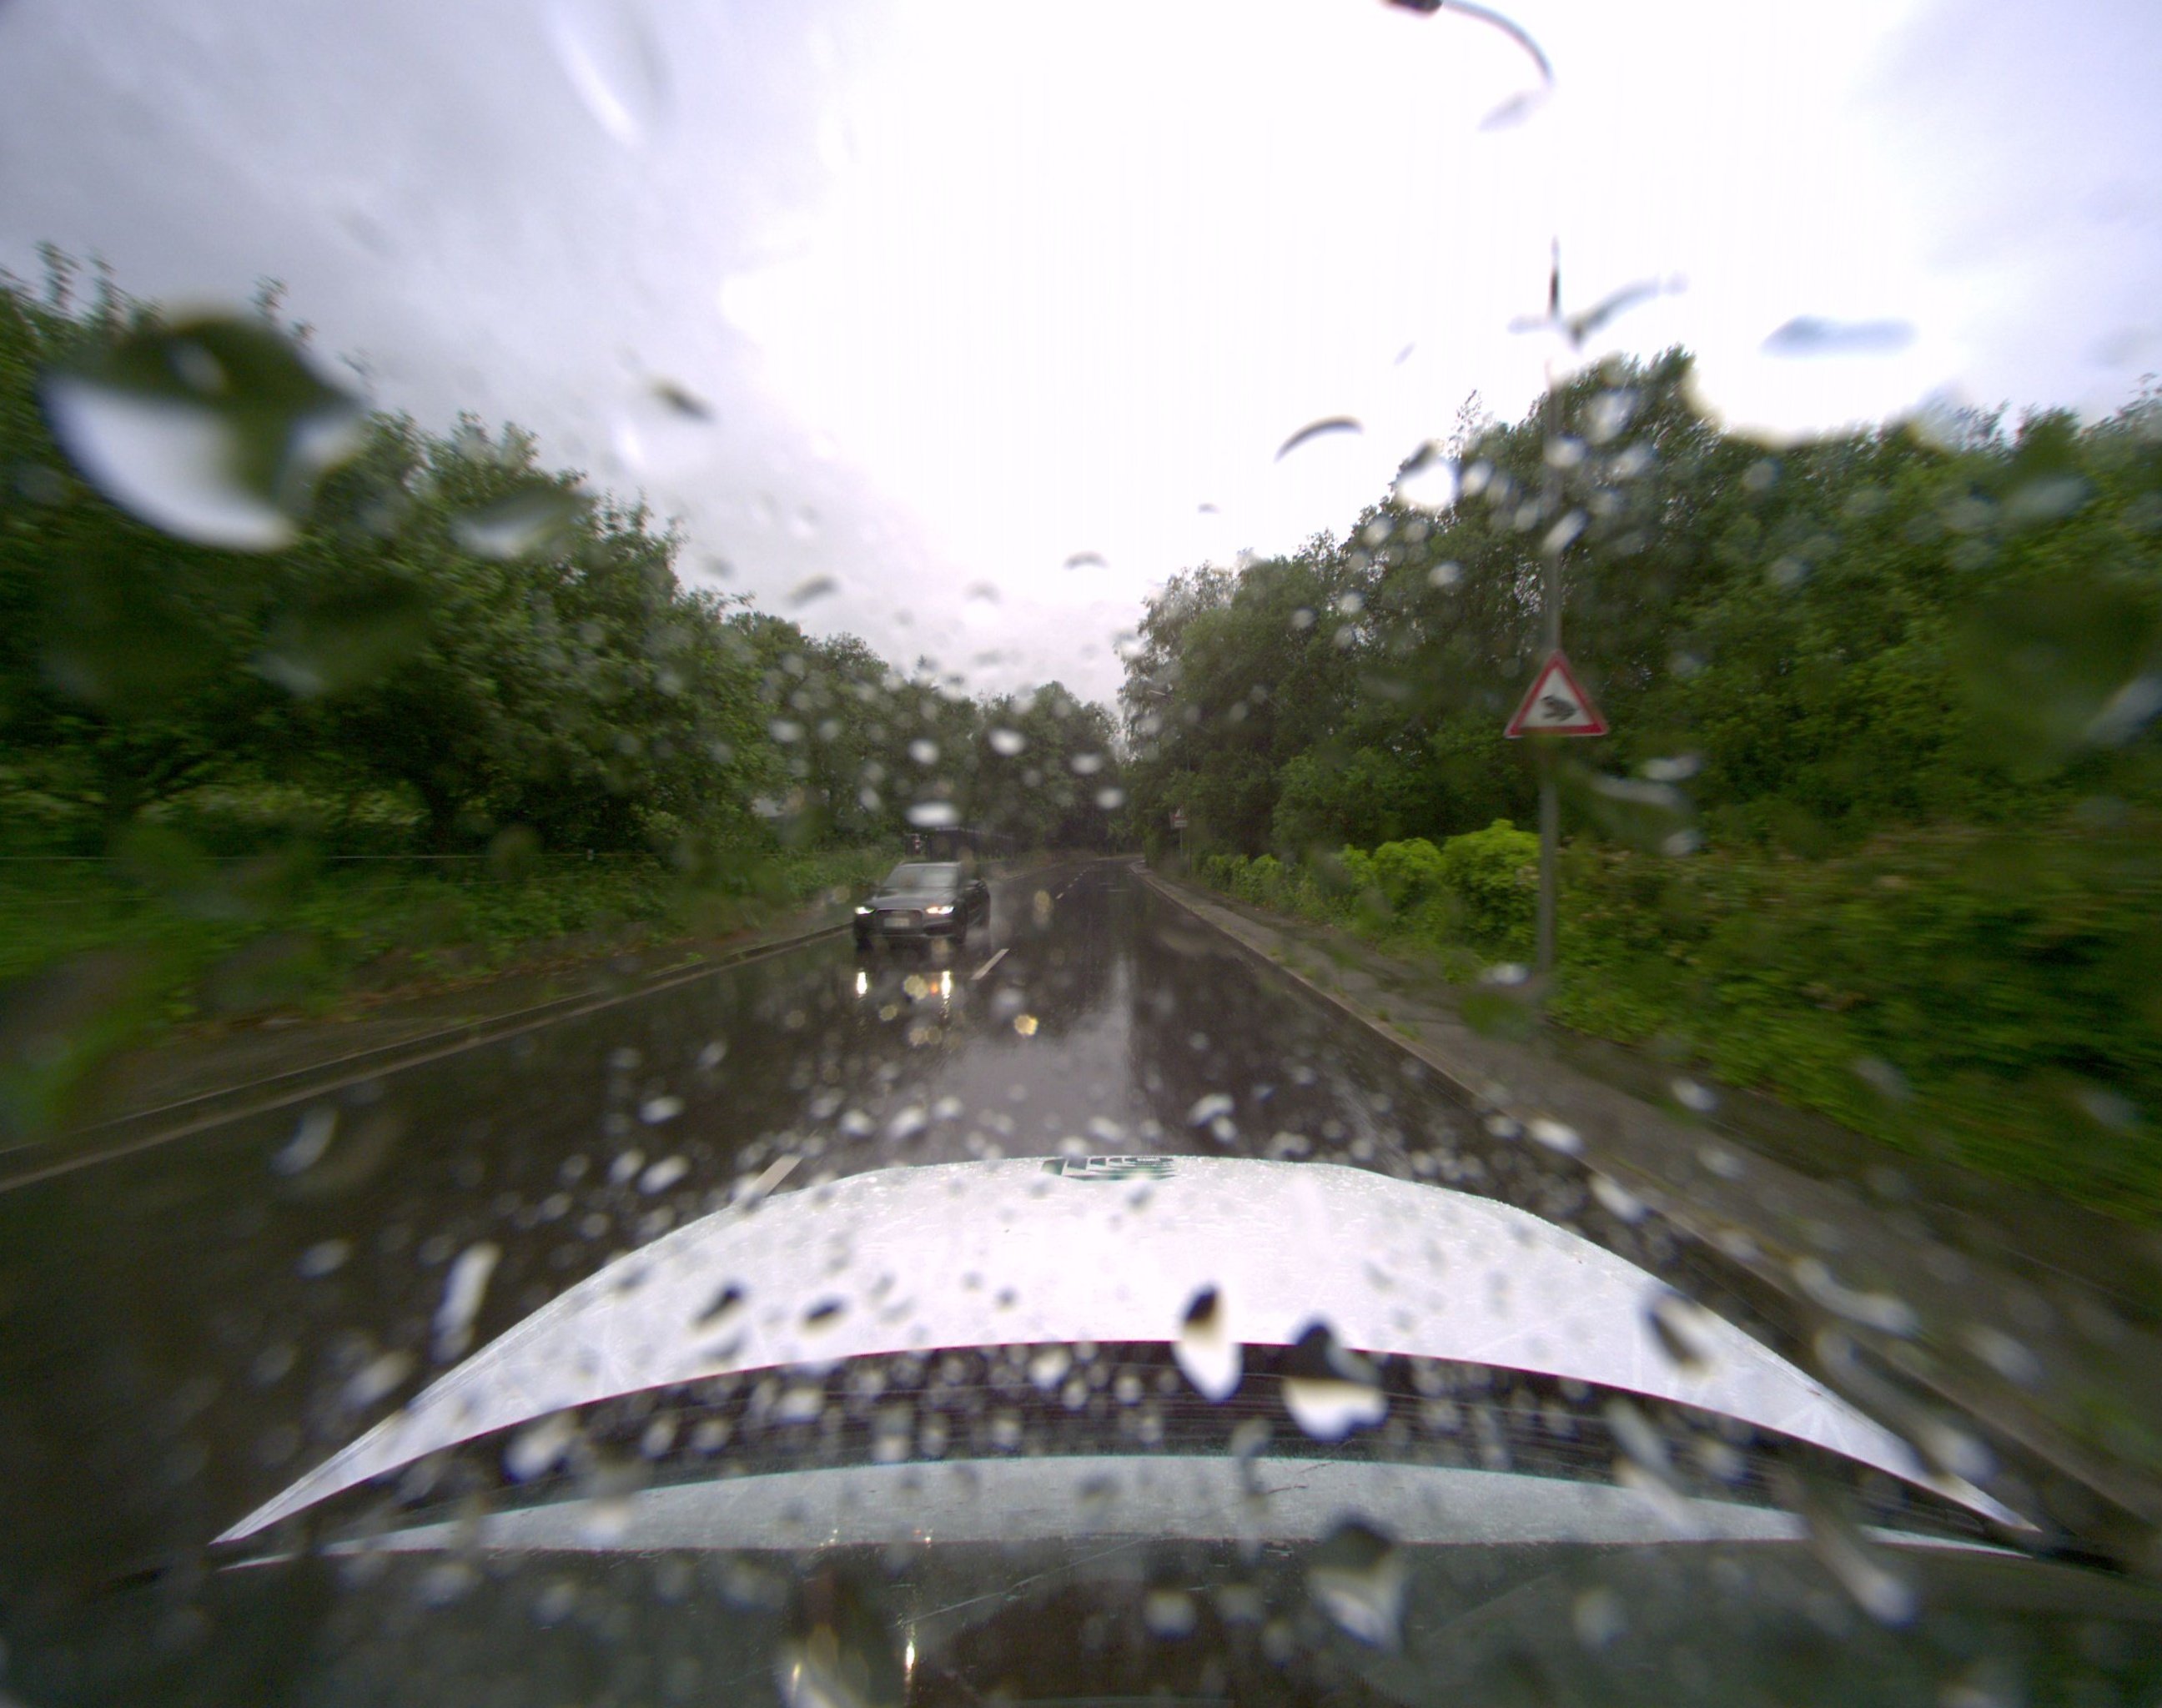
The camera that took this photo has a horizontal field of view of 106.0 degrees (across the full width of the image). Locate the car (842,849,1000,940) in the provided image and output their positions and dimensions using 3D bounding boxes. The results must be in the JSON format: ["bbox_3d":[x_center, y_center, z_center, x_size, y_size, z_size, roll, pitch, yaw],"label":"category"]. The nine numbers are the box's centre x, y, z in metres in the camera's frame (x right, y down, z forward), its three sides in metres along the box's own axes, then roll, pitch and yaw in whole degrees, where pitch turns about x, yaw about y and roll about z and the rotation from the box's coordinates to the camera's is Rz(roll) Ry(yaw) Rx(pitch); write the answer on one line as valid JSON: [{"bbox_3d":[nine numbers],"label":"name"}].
[{"bbox_3d":[-2.832,0.649,15.478,1.986,1.454,4.430,0,1,2],"label":"car"}]
